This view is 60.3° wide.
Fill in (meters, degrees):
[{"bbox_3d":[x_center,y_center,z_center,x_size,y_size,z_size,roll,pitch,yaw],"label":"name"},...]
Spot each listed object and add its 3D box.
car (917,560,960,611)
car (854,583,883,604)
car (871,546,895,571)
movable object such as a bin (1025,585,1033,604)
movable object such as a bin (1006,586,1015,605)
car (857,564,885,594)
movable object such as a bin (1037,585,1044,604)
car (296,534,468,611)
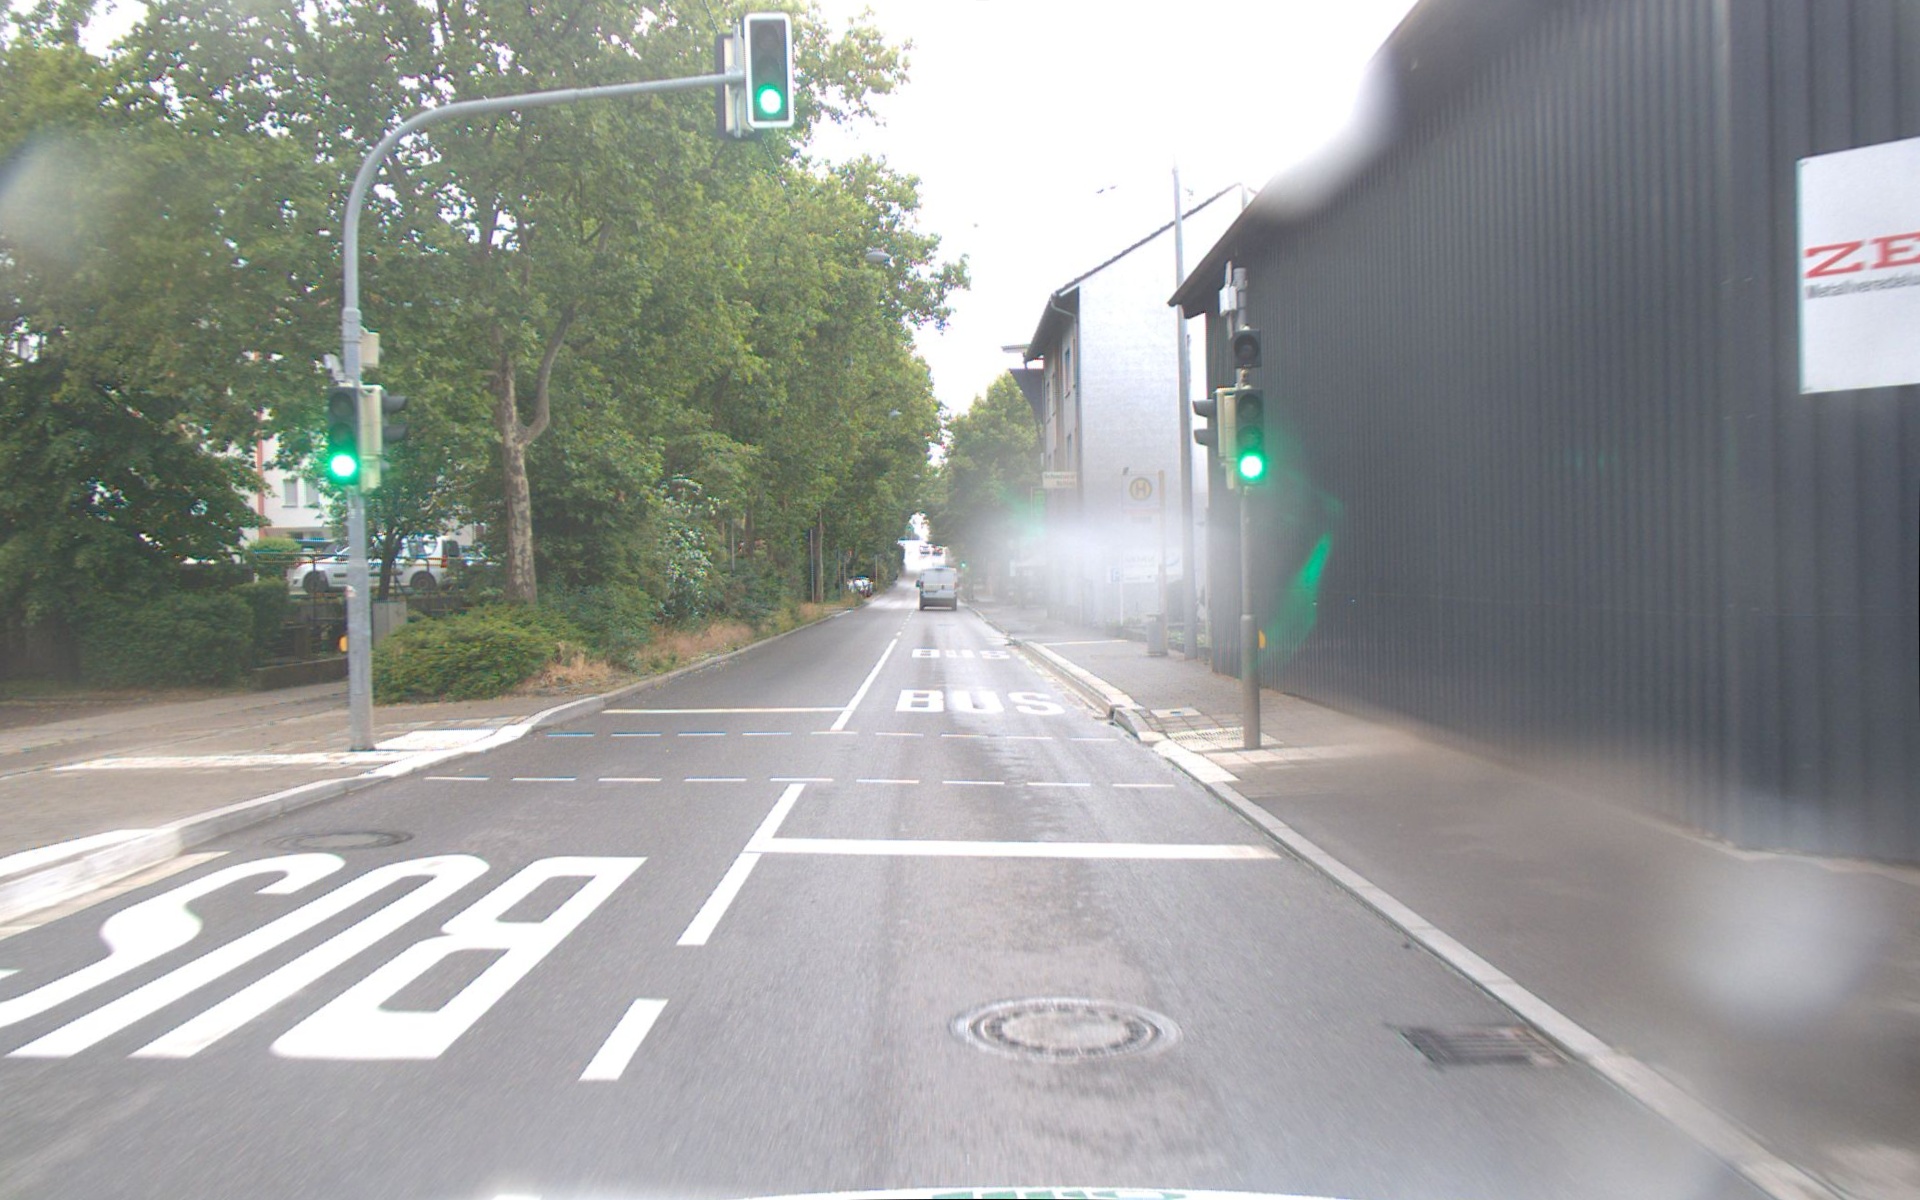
[{"bbox_3d":[-1.160,-0.752,89.464,2.236,2.597,3.999,0,-1,-1],"label":"car"},{"bbox_3d":[-7.890,-0.548,143.255,2.170,1.721,4.609,-1,-1,1],"label":"car"},{"bbox_3d":[-7.973,-4.259,171.701,2.170,2.334,4.609,1,-2,1],"label":"car"},{"bbox_3d":[4.046,-0.327,96.676,0.392,1.085,0.358,0,-1,-7],"label":"movable object such as a bin"},{"bbox_3d":[2.966,-0.267,96.616,0.392,1.085,0.358,-4,-1,-7],"label":"movable object such as a bin"},{"bbox_3d":[-8.010,-1.894,149.976,2.170,2.578,4.610,1,-1,1],"label":"car"},{"bbox_3d":[4.721,-0.332,96.671,0.349,1.085,0.358,1,-1,-7],"label":"movable object such as a bin"},{"bbox_3d":[-15.755,-0.748,45.209,4.085,2.049,1.718,0,0,-3],"label":"car"}]
